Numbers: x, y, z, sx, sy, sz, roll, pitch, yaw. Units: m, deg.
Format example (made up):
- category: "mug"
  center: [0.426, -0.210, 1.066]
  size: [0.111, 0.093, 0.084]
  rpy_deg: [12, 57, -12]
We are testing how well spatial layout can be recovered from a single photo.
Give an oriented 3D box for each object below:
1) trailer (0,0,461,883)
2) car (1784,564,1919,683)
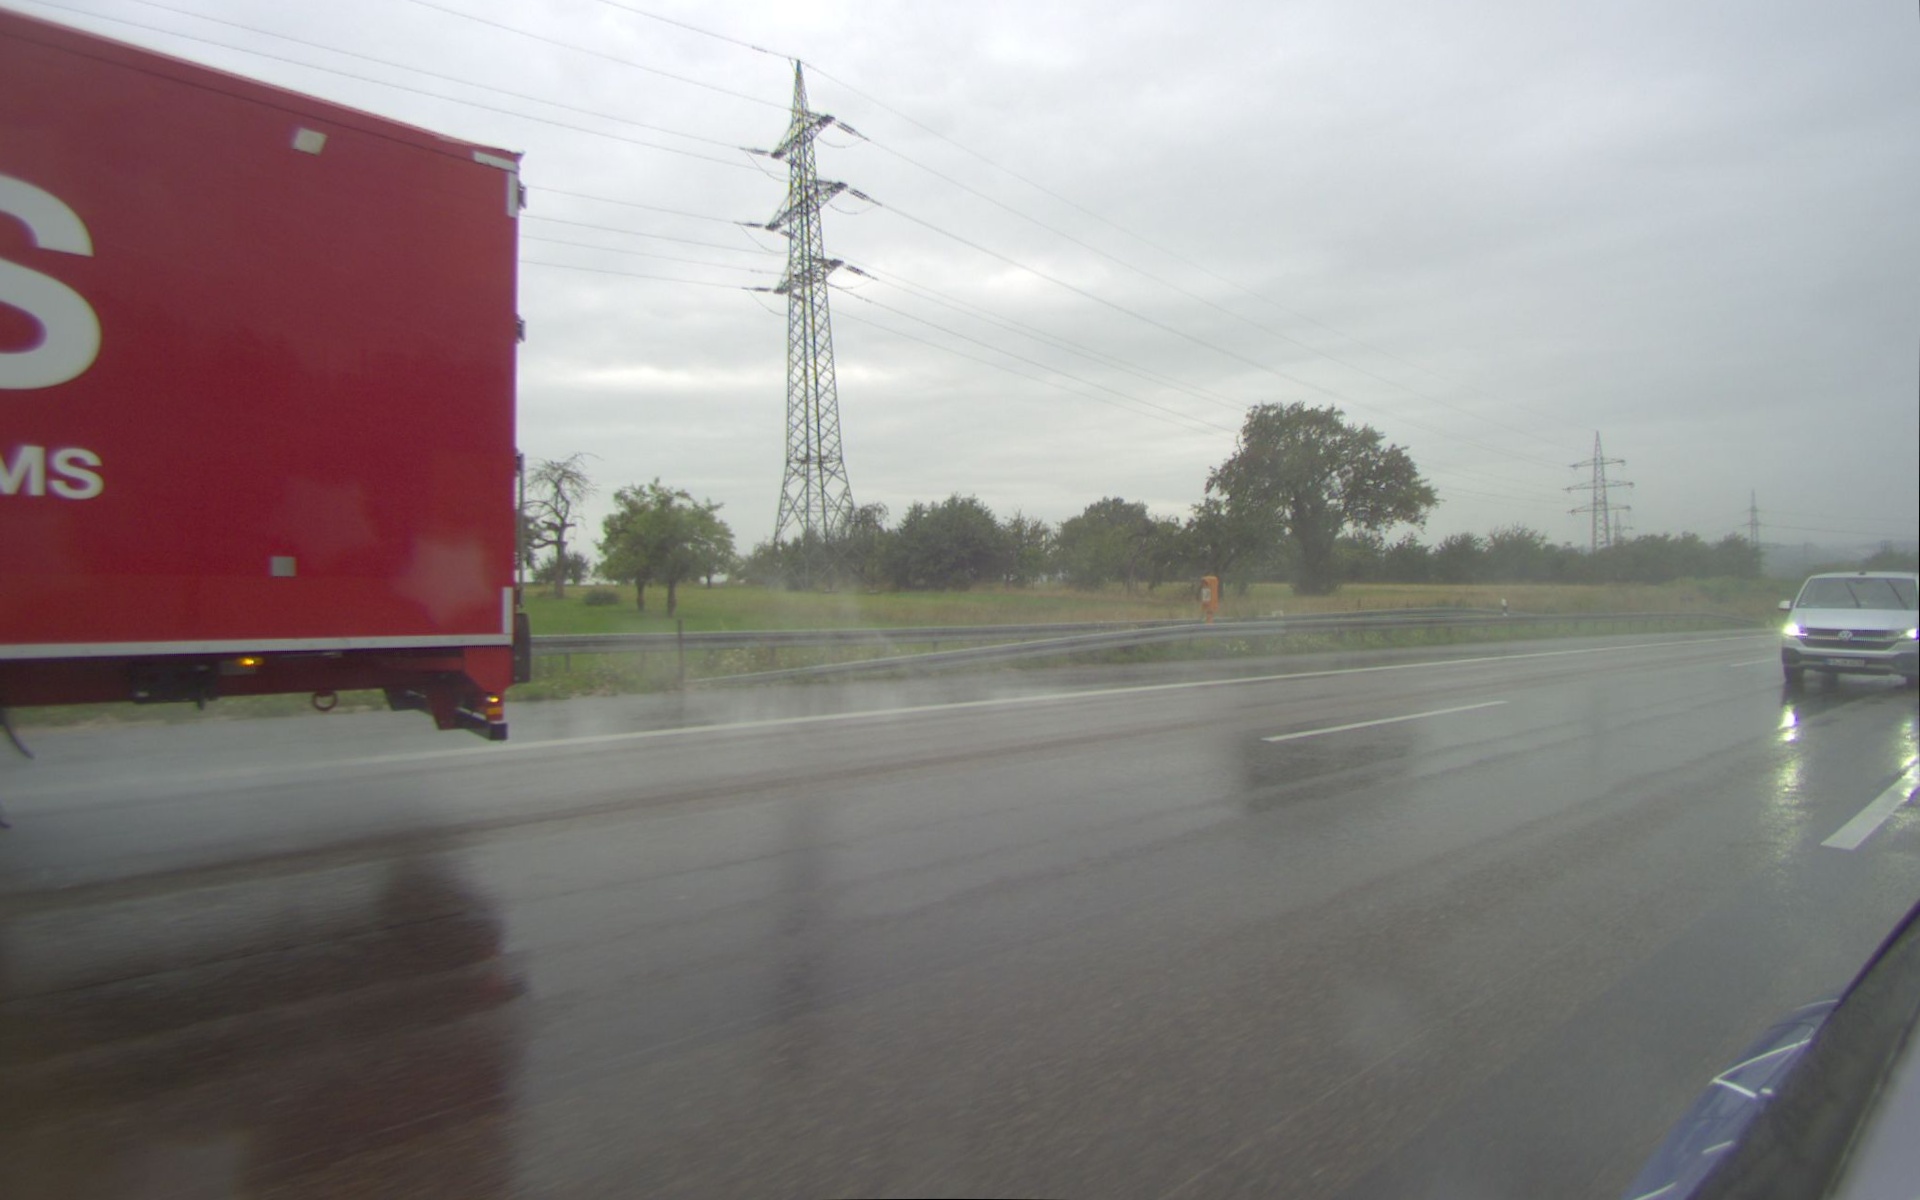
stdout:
- category: "trailer"
  center: [-8.646, -0.752, 2.188]
  size: [13.396, 4.005, 2.624]
  rpy_deg: [0, 1, -42]
- category: "car"
  center: [16.784, 0.398, 18.331]
  size: [4.919, 1.908, 1.891]
  rpy_deg: [0, -2, -39]
